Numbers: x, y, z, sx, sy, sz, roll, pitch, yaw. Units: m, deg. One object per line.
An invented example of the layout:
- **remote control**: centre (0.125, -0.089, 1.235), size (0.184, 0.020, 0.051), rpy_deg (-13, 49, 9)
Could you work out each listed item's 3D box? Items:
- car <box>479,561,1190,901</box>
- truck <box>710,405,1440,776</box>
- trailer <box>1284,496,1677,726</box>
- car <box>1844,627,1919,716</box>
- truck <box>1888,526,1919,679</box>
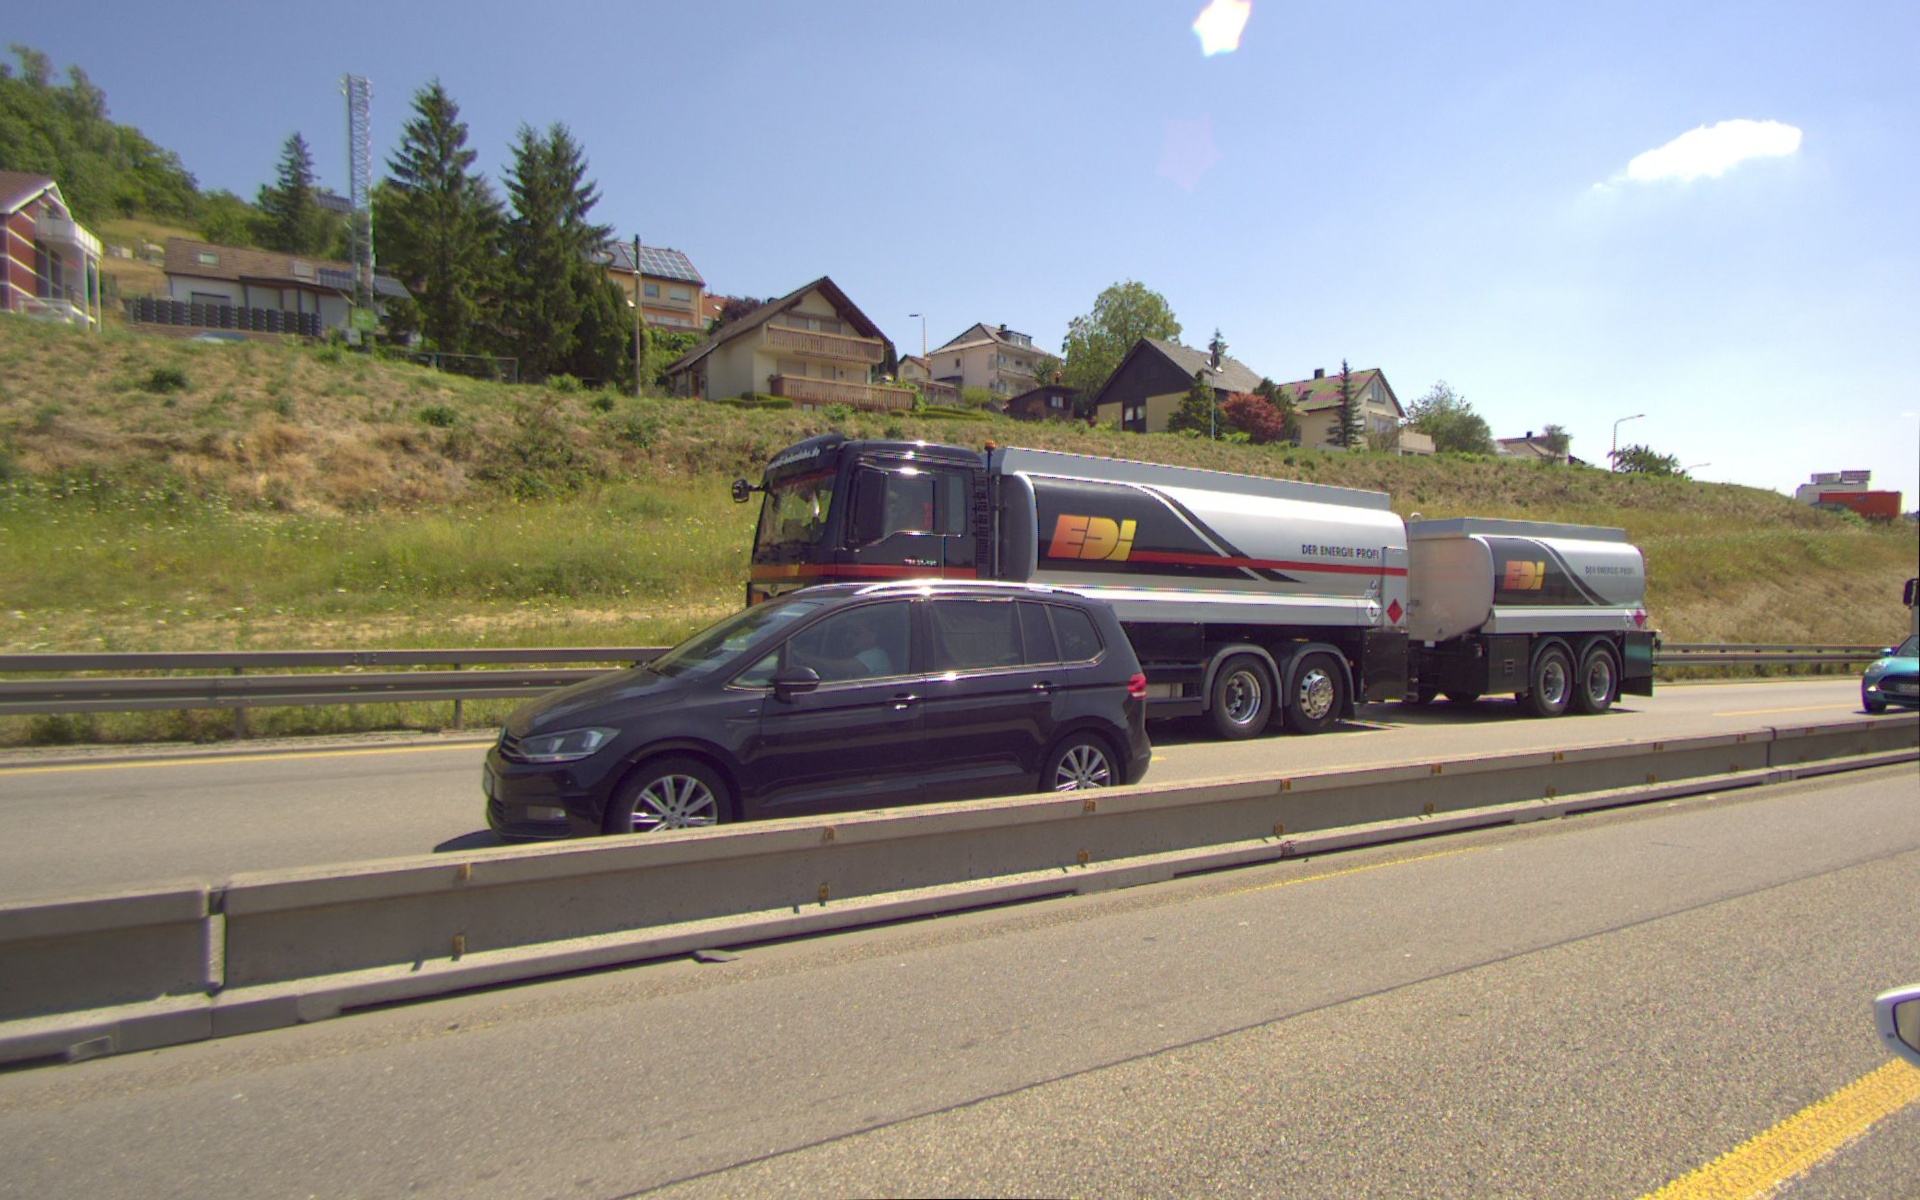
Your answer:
- **car**: centre (-0.707, 0.675, 6.769), size (4.447, 1.657, 1.710), rpy_deg (1, 0, -30)
- **truck**: centre (1.767, -0.010, 12.062), size (8.854, 3.185, 2.713), rpy_deg (1, 0, -31)
- **trailer**: centre (8.380, 0.196, 16.004), size (6.296, 3.041, 2.600), rpy_deg (1, 0, -30)
- **car**: centre (17.075, 1.196, 17.312), size (3.859, 1.413, 1.657), rpy_deg (1, 0, -31)
- **truck**: centre (29.237, 0.114, 28.608), size (5.226, 4.237, 2.732), rpy_deg (1, 0, -31)
